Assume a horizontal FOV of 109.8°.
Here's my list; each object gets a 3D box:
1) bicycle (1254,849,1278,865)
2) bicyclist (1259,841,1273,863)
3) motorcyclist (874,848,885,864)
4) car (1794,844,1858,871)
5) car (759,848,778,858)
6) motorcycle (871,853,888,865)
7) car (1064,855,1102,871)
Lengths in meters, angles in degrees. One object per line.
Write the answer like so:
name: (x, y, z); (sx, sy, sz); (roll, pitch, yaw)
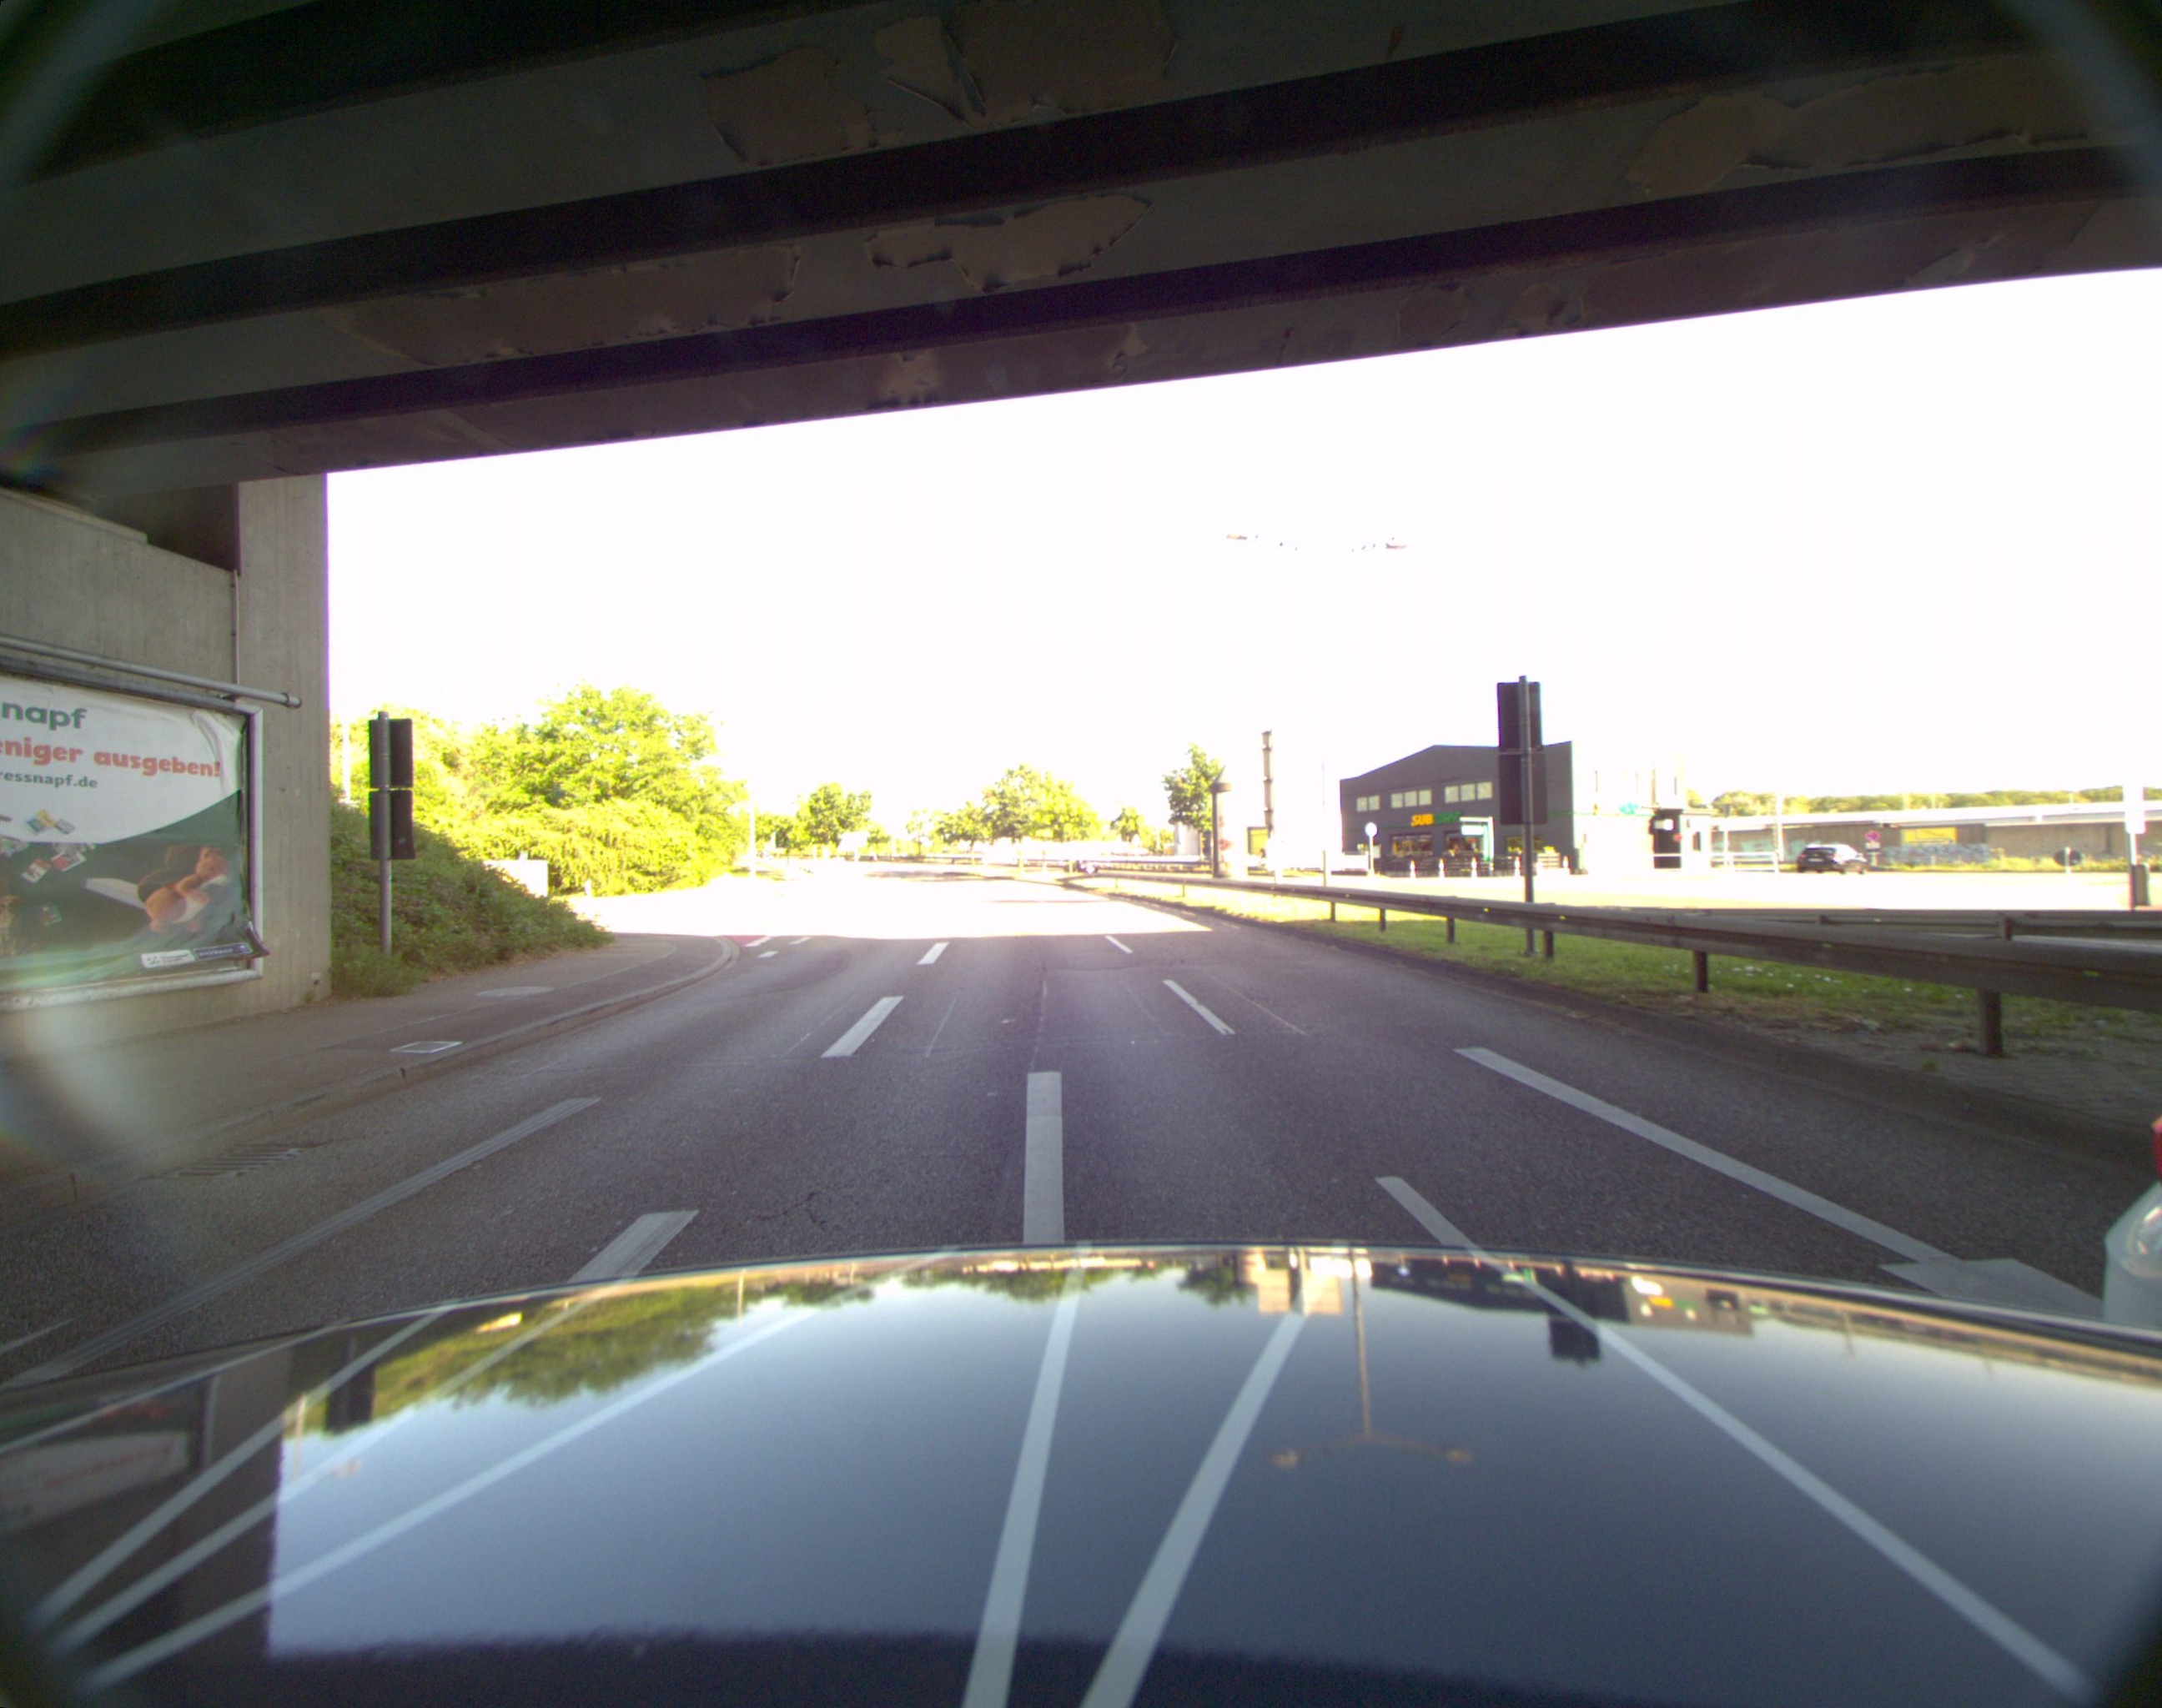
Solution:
bicycle: (12.503, 0.185, 51.392); (0.594, 1.017, 1.747); (-3, 1, -22)
bicyclist: (12.502, -0.142, 51.366); (0.594, 1.419, 0.707); (-3, 1, -22)
motorcyclist: (-28.709, 0.322, 108.302); (1.111, 2.228, 1.179); (-3, 1, -41)
car: (38.286, 0.195, 39.013); (4.191, 1.274, 1.825); (1, 0, -39)
car: (-51.630, -0.149, 125.414); (1.742, 1.411, 4.308); (0, -2, -39)
motorcycle: (-28.733, 0.767, 108.358); (1.111, 1.651, 3.146); (-3, 1, -40)
car: (0.119, 0.725, 62.180); (1.749, 1.274, 4.175); (1, 0, -19)
